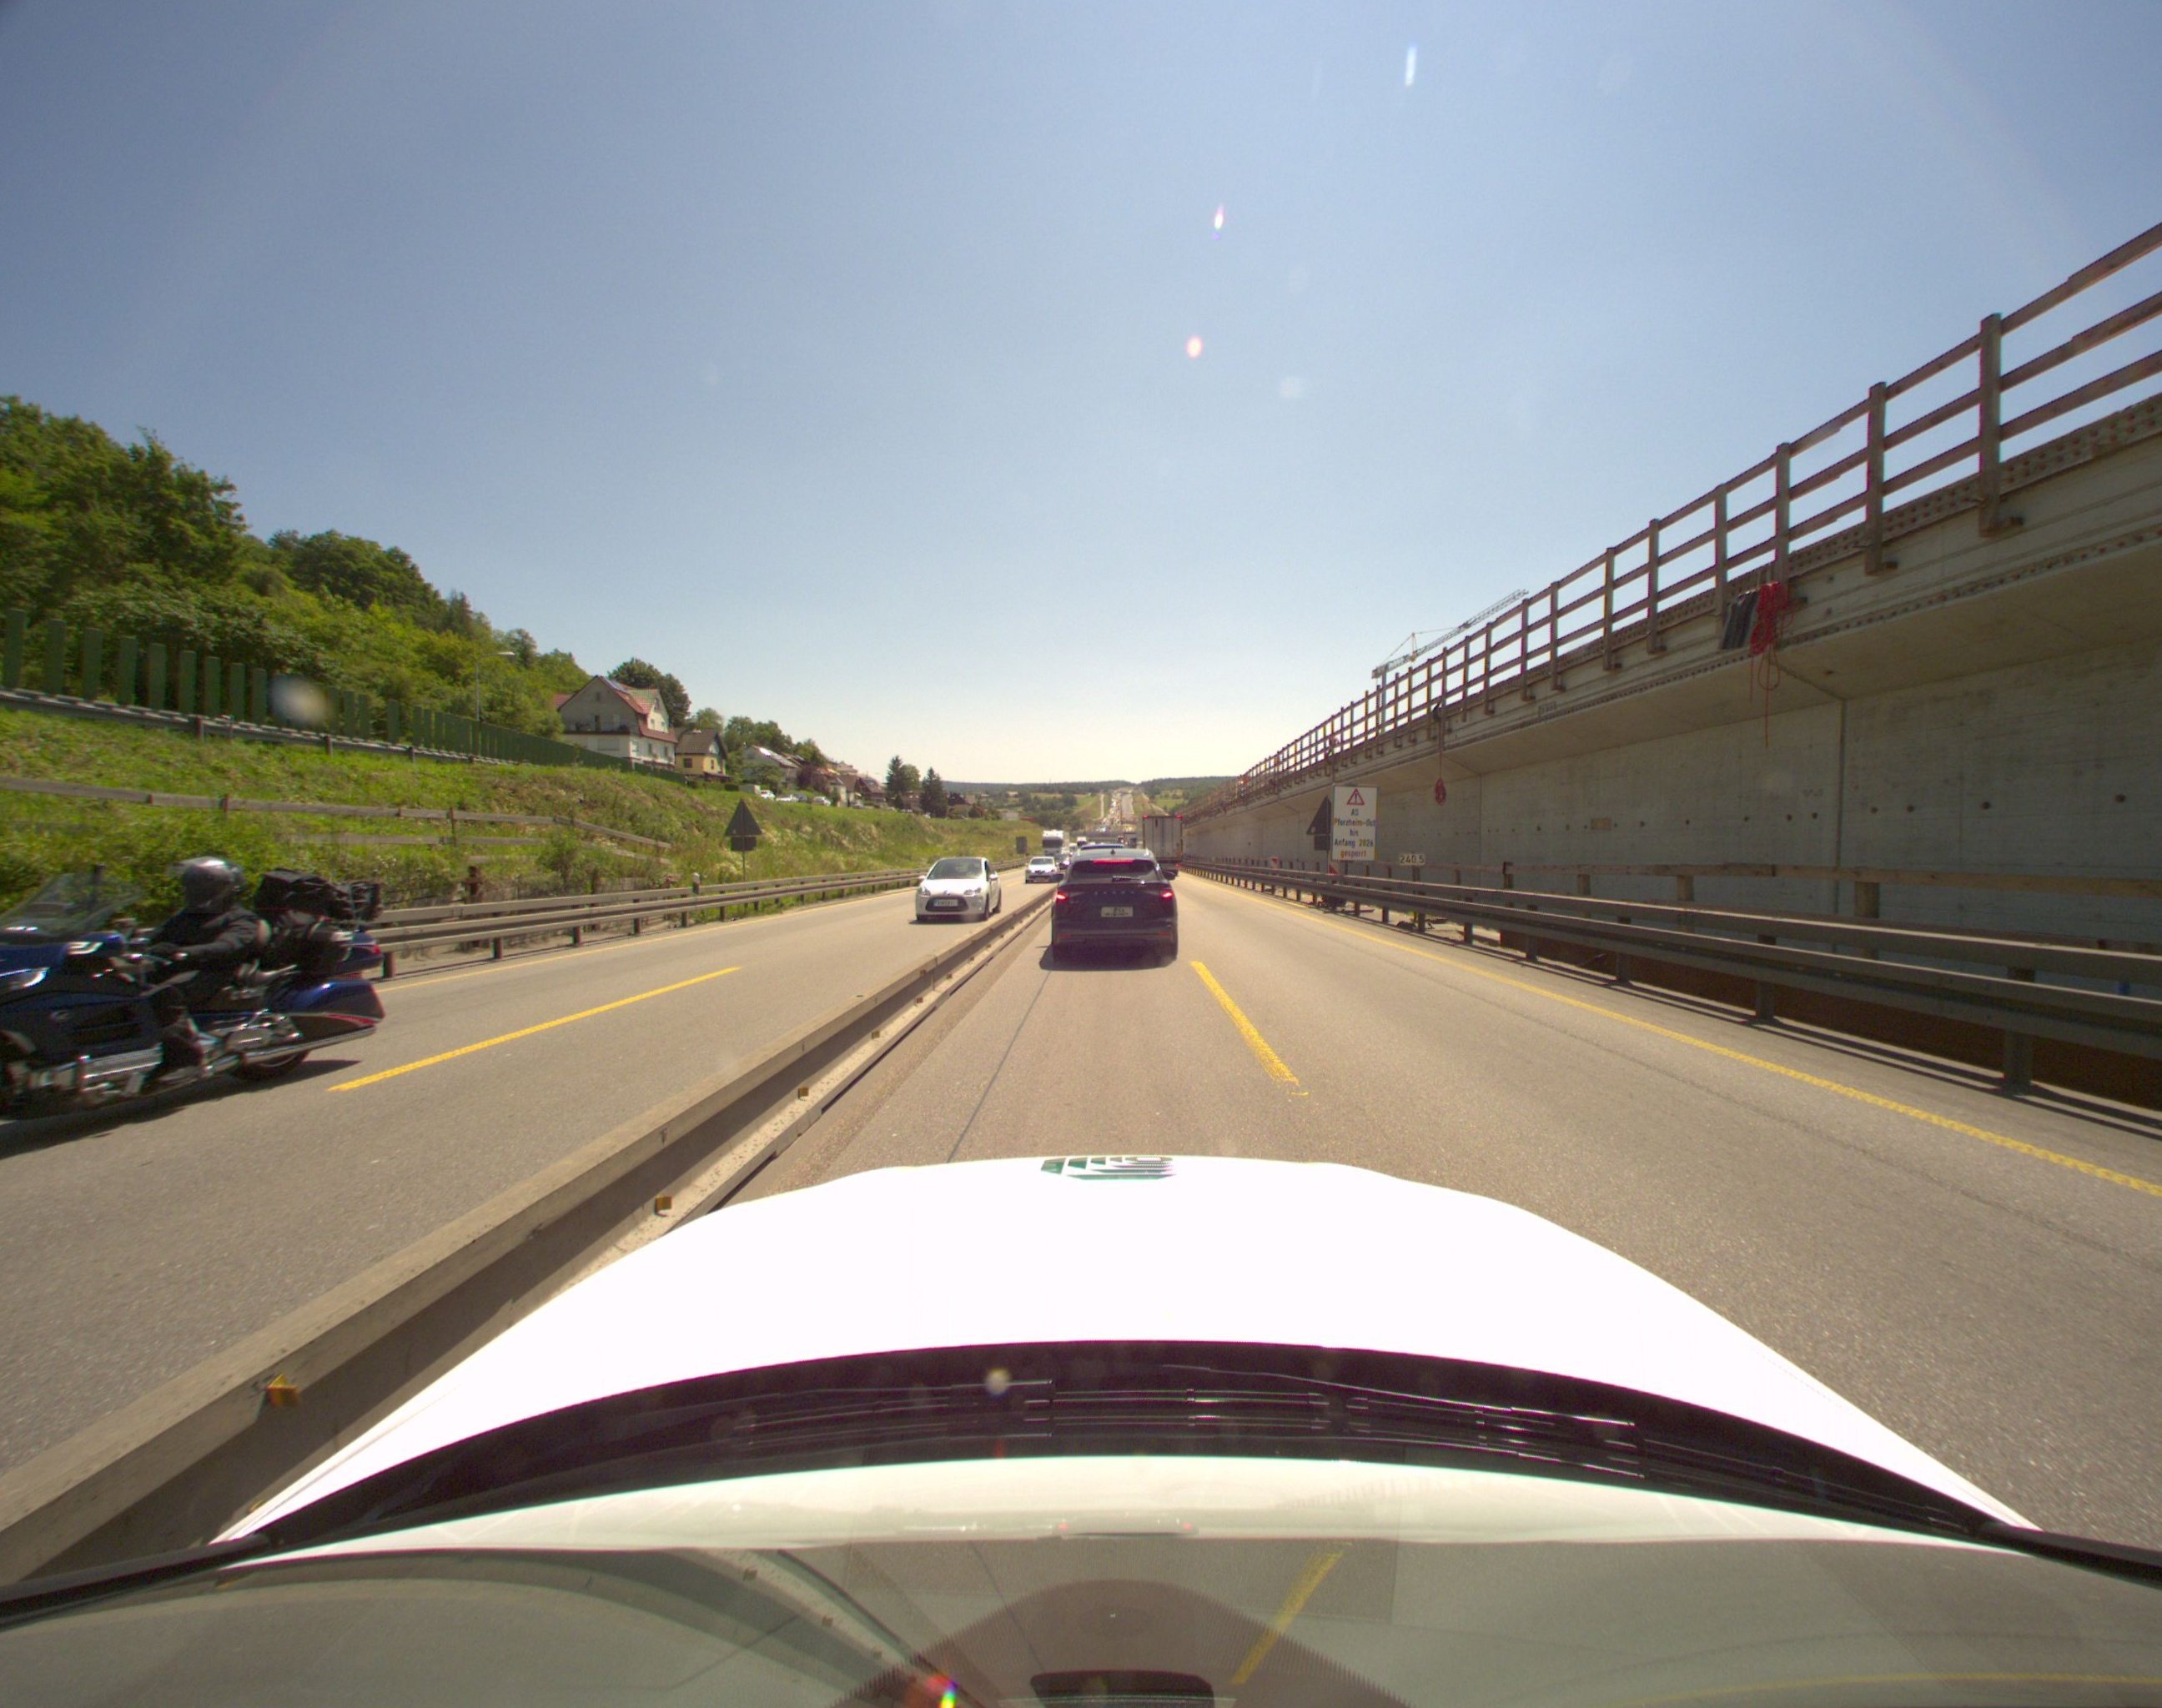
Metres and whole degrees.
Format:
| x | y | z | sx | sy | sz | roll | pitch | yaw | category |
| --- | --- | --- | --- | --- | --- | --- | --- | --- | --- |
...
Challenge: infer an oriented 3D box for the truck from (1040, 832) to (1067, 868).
| x | y | z | sx | sy | sz | roll | pitch | yaw | category |
| --- | --- | --- | --- | --- | --- | --- | --- | --- | --- |
| -3.279 | -0.485 | 99.716 | 3.171 | 4.238 | 6.480 | -1 | -1 | -1 | truck |

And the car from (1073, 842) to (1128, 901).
| x | y | z | sx | sy | sz | roll | pitch | yaw | category |
| --- | --- | --- | --- | --- | --- | --- | --- | --- | --- |
| 0.639 | 0.598 | 28.679 | 1.744 | 1.895 | 3.754 | 2 | 0 | 0 | car |

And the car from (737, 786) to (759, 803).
| x | y | z | sx | sy | sz | roll | pitch | yaw | category |
| --- | --- | --- | --- | --- | --- | --- | --- | --- | --- |
| -33.957 | -6.021 | 83.138 | 1.732 | 1.398 | 3.778 | 1 | 0 | -18 | car |

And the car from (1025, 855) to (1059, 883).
| x | y | z | sx | sy | sz | roll | pitch | yaw | category |
| --- | --- | --- | --- | --- | --- | --- | --- | --- | --- |
| -2.165 | 0.822 | 45.858 | 1.685 | 1.486 | 3.750 | -1 | 0 | 0 | car |

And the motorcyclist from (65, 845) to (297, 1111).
| x | y | z | sx | sy | sz | roll | pitch | yaw | category |
| --- | --- | --- | --- | --- | --- | --- | --- | --- | --- |
| -5.778 | 0.751 | 5.278 | 0.663 | 1.585 | 0.736 | -1 | -1 | 1 | motorcyclist |

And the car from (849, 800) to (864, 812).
| x | y | z | sx | sy | sz | roll | pitch | yaw | category |
| --- | --- | --- | --- | --- | --- | --- | --- | --- | --- |
| -37.044 | -7.881 | 134.297 | 1.924 | 1.728 | 3.988 | -1 | 0 | -8 | car |

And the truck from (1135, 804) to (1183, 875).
| x | y | z | sx | sy | sz | roll | pitch | yaw | category |
| --- | --- | --- | --- | --- | --- | --- | --- | --- | --- |
| 5.497 | -0.873 | 58.888 | 2.834 | 4.615 | 11.817 | 0 | -1 | 2 | truck |

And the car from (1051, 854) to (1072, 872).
| x | y | z | sx | sy | sz | roll | pitch | yaw | category |
| --- | --- | --- | --- | --- | --- | --- | --- | --- | --- |
| -1.702 | 0.759 | 72.194 | 1.694 | 1.561 | 4.104 | -1 | 0 | 1 | car |

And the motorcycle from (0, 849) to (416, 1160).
| x | y | z | sx | sy | sz | roll | pitch | yaw | category |
| --- | --- | --- | --- | --- | --- | --- | --- | --- | --- |
| -5.788 | 0.748 | 5.245 | 0.787 | 1.551 | 2.622 | 0 | 1 | 2 | motorcycle |

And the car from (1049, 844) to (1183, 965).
| x | y | z | sx | sy | sz | roll | pitch | yaw | category |
| --- | --- | --- | --- | --- | --- | --- | --- | --- | --- |
| 0.498 | 0.685 | 12.778 | 1.776 | 1.597 | 3.755 | -1 | 0 | 1 | car |

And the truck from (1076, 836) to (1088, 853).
| x | y | z | sx | sy | sz | roll | pitch | yaw | category |
| --- | --- | --- | --- | --- | --- | --- | --- | --- | --- |
| 0.300 | -2.341 | 202.251 | 2.742 | 4.227 | 8.105 | 0 | 0 | 3 | truck |

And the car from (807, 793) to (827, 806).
| x | y | z | sx | sy | sz | roll | pitch | yaw | category |
| --- | --- | --- | --- | --- | --- | --- | --- | --- | --- |
| -37.131 | -7.660 | 114.707 | 1.993 | 1.320 | 3.988 | 3 | -1 | -9 | car |

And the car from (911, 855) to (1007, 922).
| x | y | z | sx | sy | sz | roll | pitch | yaw | category |
| --- | --- | --- | --- | --- | --- | --- | --- | --- | --- |
| -2.945 | 0.789 | 20.448 | 1.760 | 1.486 | 3.865 | -1 | 0 | 0 | car |

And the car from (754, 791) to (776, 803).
| x | y | z | sx | sy | sz | roll | pitch | yaw | category |
| --- | --- | --- | --- | --- | --- | --- | --- | --- | --- |
| -34.046 | -6.173 | 87.755 | 1.277 | 1.039 | 3.270 | -1 | 0 | -4 | car |

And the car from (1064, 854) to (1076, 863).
| x | y | z | sx | sy | sz | roll | pitch | yaw | category |
| --- | --- | --- | --- | --- | --- | --- | --- | --- | --- |
| -1.871 | 0.786 | 140.239 | 1.740 | 1.585 | 4.001 | 3 | -1 | 2 | car |

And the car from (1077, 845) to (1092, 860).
| x | y | z | sx | sy | sz | roll | pitch | yaw | category |
| --- | --- | --- | --- | --- | --- | --- | --- | --- | --- |
| 0.463 | -0.197 | 105.790 | 1.769 | 1.820 | 4.435 | -1 | 0 | 2 | car |

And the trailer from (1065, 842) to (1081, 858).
| x | y | z | sx | sy | sz | roll | pitch | yaw | category |
| --- | --- | --- | --- | --- | --- | --- | --- | --- | --- |
| -1.400 | -0.677 | 148.122 | 2.474 | 2.613 | 5.871 | -2 | -1 | 3 | trailer |
